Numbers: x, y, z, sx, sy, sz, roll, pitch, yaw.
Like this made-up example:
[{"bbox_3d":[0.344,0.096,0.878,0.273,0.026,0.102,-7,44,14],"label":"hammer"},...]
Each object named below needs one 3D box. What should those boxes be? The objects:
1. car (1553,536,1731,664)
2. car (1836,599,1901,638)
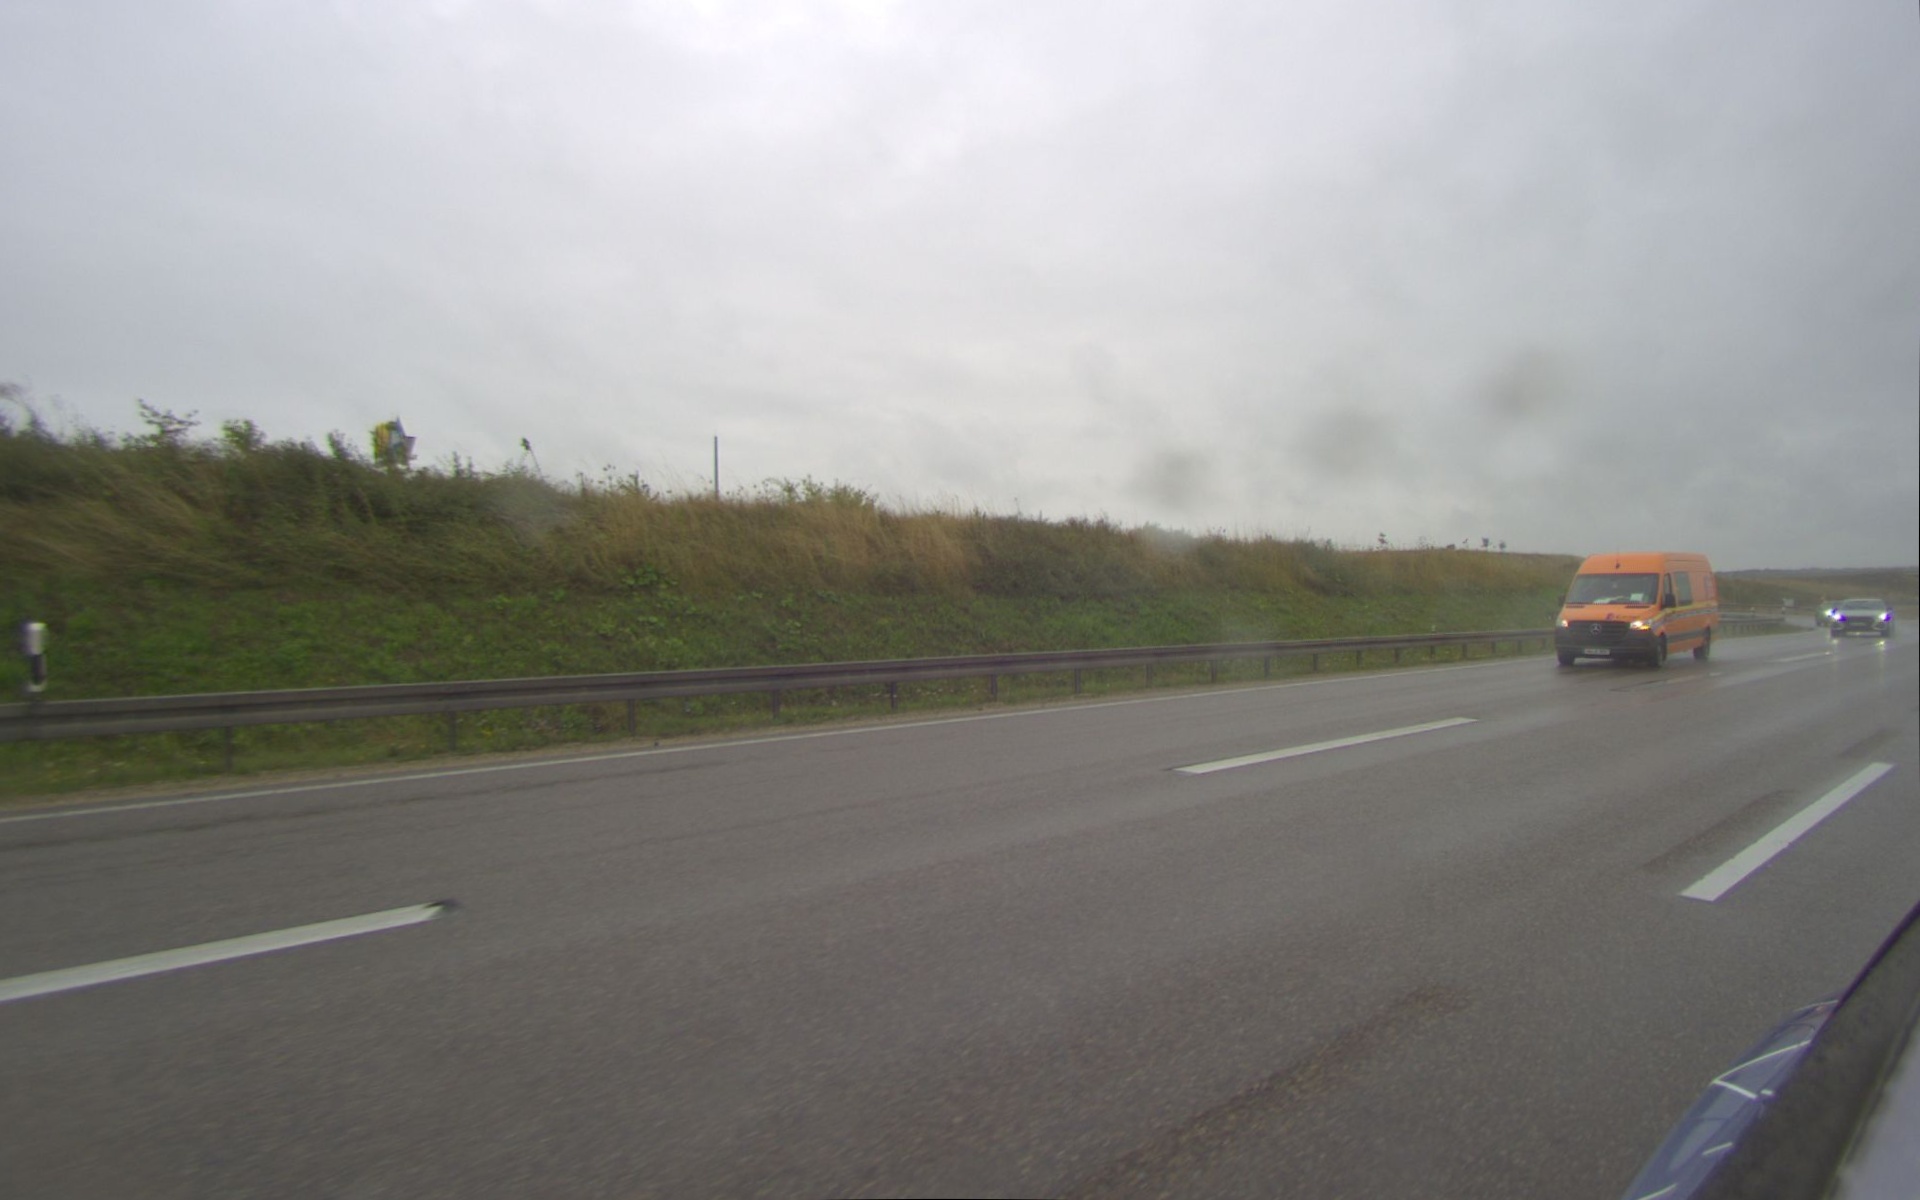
[{"bbox_3d":[16.301,-0.004,23.981,6.772,2.649,2.062,-1,-1,-44],"label":"car"},{"bbox_3d":[38.532,0.720,42.866,1.908,1.504,4.407,1,1,44],"label":"car"}]
